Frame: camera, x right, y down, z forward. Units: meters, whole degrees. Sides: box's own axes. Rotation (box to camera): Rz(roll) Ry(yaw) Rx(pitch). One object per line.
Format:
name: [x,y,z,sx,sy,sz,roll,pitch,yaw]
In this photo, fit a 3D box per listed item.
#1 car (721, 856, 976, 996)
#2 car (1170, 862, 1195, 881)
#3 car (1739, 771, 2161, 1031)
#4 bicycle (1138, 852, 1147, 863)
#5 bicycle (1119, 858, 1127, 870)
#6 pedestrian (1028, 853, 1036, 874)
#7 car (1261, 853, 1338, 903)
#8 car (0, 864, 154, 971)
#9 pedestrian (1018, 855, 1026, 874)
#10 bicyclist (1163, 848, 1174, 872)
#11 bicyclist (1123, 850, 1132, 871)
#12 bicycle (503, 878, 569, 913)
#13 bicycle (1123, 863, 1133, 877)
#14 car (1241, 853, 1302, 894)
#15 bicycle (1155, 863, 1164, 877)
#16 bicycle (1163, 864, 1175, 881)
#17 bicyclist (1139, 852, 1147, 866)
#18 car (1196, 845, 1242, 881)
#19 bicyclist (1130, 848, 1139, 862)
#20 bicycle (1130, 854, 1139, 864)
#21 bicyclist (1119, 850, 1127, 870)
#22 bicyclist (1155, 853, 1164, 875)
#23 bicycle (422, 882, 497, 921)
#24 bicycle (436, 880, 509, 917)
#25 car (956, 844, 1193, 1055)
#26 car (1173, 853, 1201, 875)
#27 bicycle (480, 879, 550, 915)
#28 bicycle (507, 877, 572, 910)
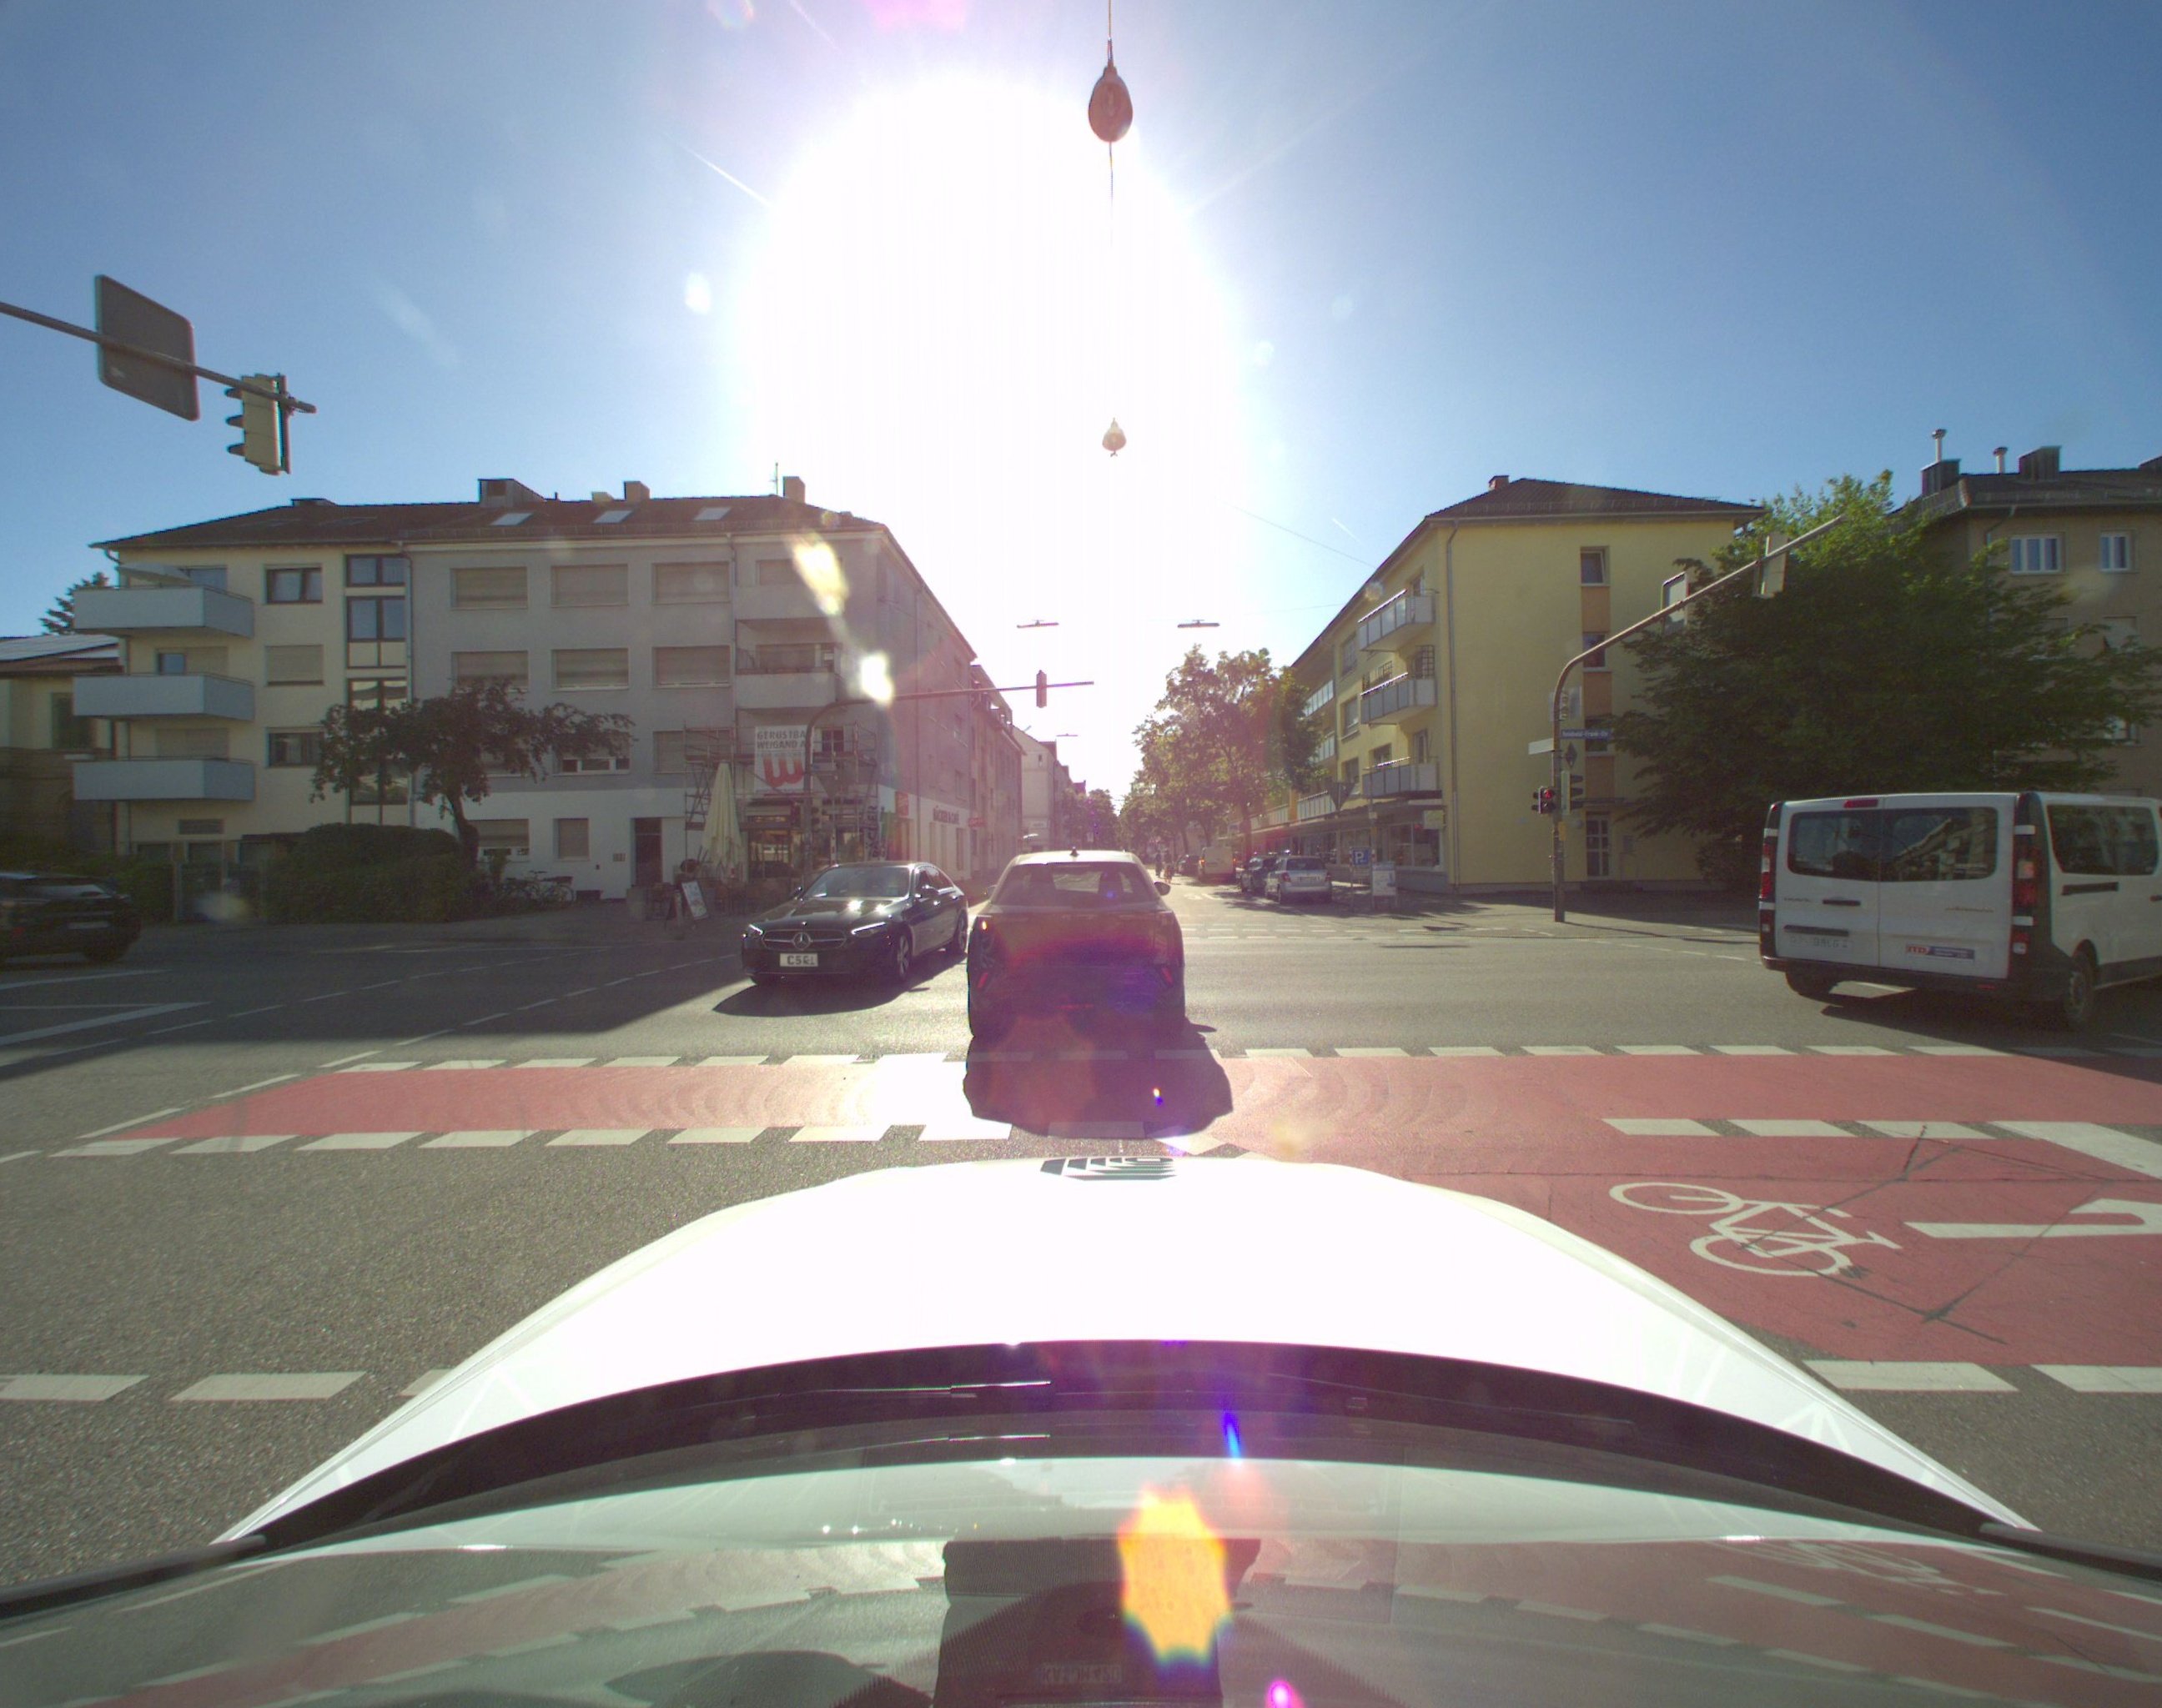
car: [-2.810,0.789,11.022,1.796,1.413,4.432,-3,0,5]
car: [7.898,1.345,63.570,1.706,1.314,3.383,-1,0,3]
car: [9.017,0.372,8.096,5.066,1.940,1.957,1,0,-27]
bicycle: [5.321,0.307,70.407,0.688,0.866,1.878,-1,0,4]
bicycle: [3.631,0.858,69.803,0.630,1.041,1.796,-2,0,2]
pedestrian: [-3.812,0.729,63.821,0.575,1.583,0.707,-1,0,-3]
car: [7.045,0.721,26.518,1.706,1.483,3.482,-1,0,3]
car: [-17.595,1.011,12.948,4.057,1.566,1.599,-2,-1,4]
pedestrian: [-4.640,0.787,63.718,0.575,1.467,0.702,-1,0,-3]
bicyclist: [4.646,0.317,43.254,0.544,1.262,0.803,-1,0,3]
bicyclist: [3.041,0.419,53.014,0.586,1.382,0.823,-1,0,3]
bicycle: [-15.564,1.189,23.270,1.581,0.940,0.513,-1,0,4]
bicycle: [3.054,1.024,52.957,0.617,0.866,1.878,-1,0,4]
car: [7.237,0.702,31.235,1.706,1.483,3.383,-1,0,3]
bicycle: [5.012,1.035,52.137,0.544,0.866,1.878,-1,0,4]
bicycle: [4.667,0.986,43.274,0.544,0.866,1.878,-1,0,4]
bicyclist: [5.348,0.468,70.650,0.689,1.193,0.595,-1,0,3]
car: [7.565,0.455,44.981,2.037,1.846,4.588,-1,0,4]
bicyclist: [5.271,0.100,80.699,0.853,1.314,1.211,1,0,2]
bicycle: [5.273,0.472,80.705,0.853,0.945,2.309,1,0,2]
bicyclist: [3.585,0.535,69.425,0.630,1.669,1.051,-2,0,2]
bicyclist: [5.013,0.632,52.099,0.544,1.382,0.823,-1,0,3]
bicycle: [-16.053,1.220,21.040,1.581,0.940,0.513,-1,0,4]
bicycle: [-16.199,1.185,21.685,1.581,0.940,0.513,-1,0,4]
car: [0.027,0.726,8.114,1.755,1.558,4.002,-1,0,2]
car: [7.411,0.667,57.168,1.706,1.483,3.383,-1,0,3]
bicycle: [-15.590,1.188,22.444,1.581,0.940,0.513,-1,0,4]
bicycle: [-15.941,1.159,23.977,1.581,0.940,0.513,-1,0,4]
